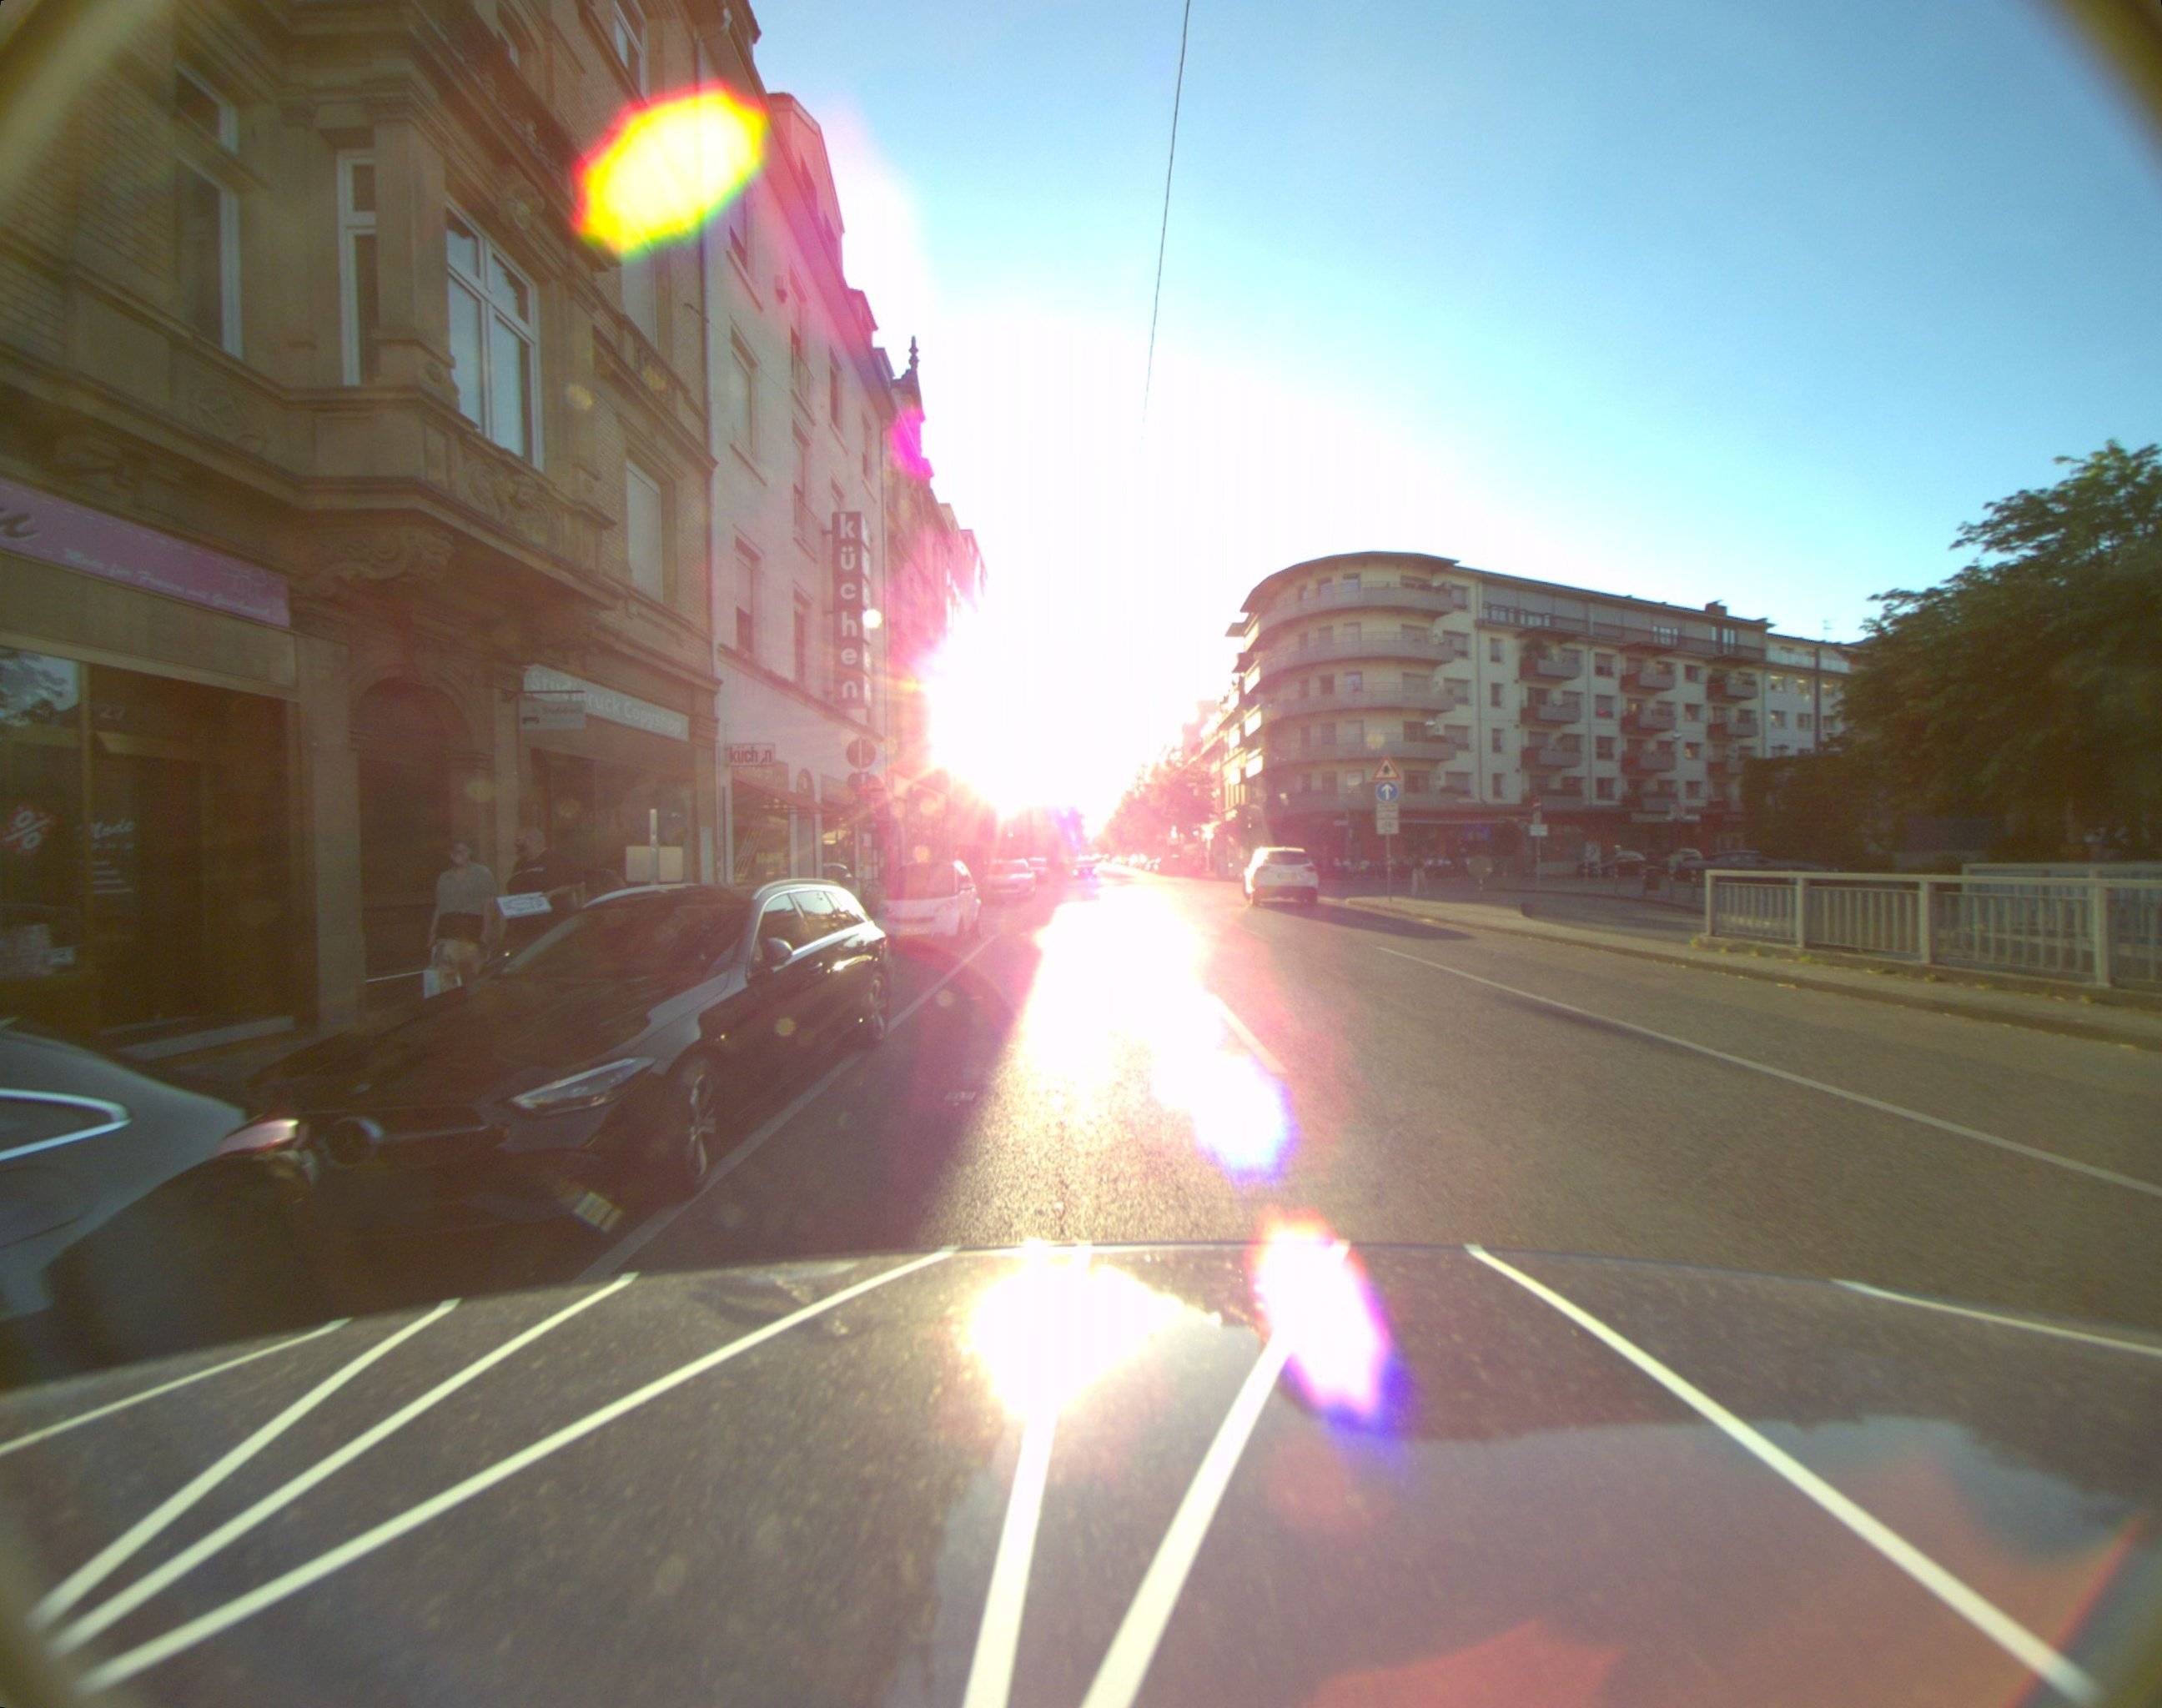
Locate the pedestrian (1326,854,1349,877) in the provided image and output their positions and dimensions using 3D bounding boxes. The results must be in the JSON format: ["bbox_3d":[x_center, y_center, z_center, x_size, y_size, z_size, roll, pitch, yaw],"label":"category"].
[{"bbox_3d":[13.835,0.618,40.963,0.900,1.235,0.767,-1,2,-8],"label":"pedestrian"}]

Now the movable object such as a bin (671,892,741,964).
[{"bbox_3d":[-5.884,1.144,11.942,0.776,1.064,0.618,1,1,0],"label":"movable object such as a bin"}]

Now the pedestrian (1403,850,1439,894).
[{"bbox_3d":[12.428,0.643,27.767,0.901,1.557,0.766,-1,0,-25],"label":"pedestrian"}]

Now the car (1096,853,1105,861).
[{"bbox_3d":[4.205,0.709,166.662,1.866,1.682,4.461,-1,-1,0],"label":"car"}]

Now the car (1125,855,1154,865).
[{"bbox_3d":[8.777,0.887,113.990,4.285,1.475,1.744,-2,0,1],"label":"car"}]

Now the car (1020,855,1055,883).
[{"bbox_3d":[-2.600,0.882,46.191,1.763,1.527,4.000,2,0,2],"label":"car"}]

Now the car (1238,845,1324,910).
[{"bbox_3d":[5.941,0.615,23.065,1.997,1.751,4.467,0,1,8],"label":"car"}]

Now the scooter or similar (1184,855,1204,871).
[{"bbox_3d":[8.757,0.680,58.751,1.402,1.219,0.525,-2,1,-3],"label":"scooter or similar"}]

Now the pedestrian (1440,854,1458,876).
[{"bbox_3d":[20.802,0.595,42.939,0.622,1.218,0.700,-1,2,-13],"label":"pedestrian"}]

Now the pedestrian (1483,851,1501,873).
[{"bbox_3d":[23.843,0.464,44.093,0.622,1.281,0.700,-1,2,-21],"label":"pedestrian"}]

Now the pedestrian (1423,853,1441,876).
[{"bbox_3d":[19.560,0.573,42.375,0.622,1.281,0.701,-1,2,-9],"label":"pedestrian"}]

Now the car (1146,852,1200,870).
[{"bbox_3d":[8.328,0.616,68.841,4.582,1.399,1.821,-2,0,-1],"label":"car"}]

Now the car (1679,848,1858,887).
[{"bbox_3d":[25.309,0.474,28.161,2.003,1.310,4.518,0,0,-30],"label":"car"}]

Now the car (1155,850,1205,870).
[{"bbox_3d":[8.641,0.520,66.420,4.082,1.527,1.884,-2,0,1],"label":"car"}]

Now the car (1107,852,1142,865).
[{"bbox_3d":[5.355,0.556,93.558,4.160,1.413,1.766,-2,0,-2],"label":"car"}]

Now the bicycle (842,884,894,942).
[{"bbox_3d":[-4.312,1.173,15.517,0.505,1.010,1.947,-1,0,0],"label":"bicycle"}]

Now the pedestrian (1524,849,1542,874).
[{"bbox_3d":[26.781,0.440,44.983,0.702,1.461,0.620,-1,2,-26],"label":"pedestrian"}]

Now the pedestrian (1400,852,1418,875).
[{"bbox_3d":[18.625,0.523,43.173,0.657,1.281,0.701,-1,2,-9],"label":"pedestrian"}]

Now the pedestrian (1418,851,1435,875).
[{"bbox_3d":[19.756,0.504,43.428,0.622,1.326,0.701,-1,2,-9],"label":"pedestrian"}]

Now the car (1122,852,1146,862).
[{"bbox_3d":[9.045,0.524,130.278,3.876,1.448,1.744,-2,0,-2],"label":"car"}]

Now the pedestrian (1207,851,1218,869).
[{"bbox_3d":[12.313,0.553,71.145,0.774,1.599,0.875,-3,2,1],"label":"pedestrian"}]

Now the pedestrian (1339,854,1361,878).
[{"bbox_3d":[14.250,0.627,40.261,0.829,1.266,0.748,-1,2,-8],"label":"pedestrian"}]

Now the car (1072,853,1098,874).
[{"bbox_3d":[0.343,0.708,57.913,1.825,1.469,4.155,-2,0,1],"label":"car"}]

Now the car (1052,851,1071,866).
[{"bbox_3d":[-2.384,0.562,93.944,2.043,1.727,4.711,1,0,1],"label":"car"}]

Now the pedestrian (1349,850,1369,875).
[{"bbox_3d":[15.341,0.488,41.904,0.748,1.340,0.828,-1,2,-6],"label":"pedestrian"}]

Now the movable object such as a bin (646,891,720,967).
[{"bbox_3d":[-5.916,1.099,11.327,0.776,1.064,0.618,1,1,0],"label":"movable object such as a bin"}]

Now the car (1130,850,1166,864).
[{"bbox_3d":[8.718,0.370,98.784,4.417,1.586,1.890,-2,0,0],"label":"car"}]

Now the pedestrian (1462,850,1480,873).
[{"bbox_3d":[23.104,0.443,45.053,0.622,1.281,0.700,-1,2,-21],"label":"pedestrian"}]

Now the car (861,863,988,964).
[{"bbox_3d":[-2.796,1.008,14.222,1.535,1.528,3.283,-2,1,2],"label":"car"}]

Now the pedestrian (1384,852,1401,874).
[{"bbox_3d":[17.595,0.514,42.913,0.622,1.240,0.701,-1,2,-9],"label":"pedestrian"}]

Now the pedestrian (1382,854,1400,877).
[{"bbox_3d":[17.052,0.615,41.829,0.622,1.240,0.701,-1,2,-9],"label":"pedestrian"}]

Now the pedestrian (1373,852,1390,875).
[{"bbox_3d":[16.898,0.511,42.697,0.622,1.240,0.701,-1,2,-9],"label":"pedestrian"}]

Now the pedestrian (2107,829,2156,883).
[{"bbox_3d":[31.421,0.055,22.729,0.622,1.577,0.700,-1,2,-23],"label":"pedestrian"}]

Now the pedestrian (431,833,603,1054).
[{"bbox_3d":[-4.960,0.742,6.760,0.774,1.816,1.010,0,0,0],"label":"pedestrian"}]

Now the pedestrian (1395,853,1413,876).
[{"bbox_3d":[17.840,0.597,41.978,0.622,1.240,0.701,-1,2,-9],"label":"pedestrian"}]

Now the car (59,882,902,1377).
[{"bbox_3d":[-2.637,1.060,4.930,1.734,1.440,4.524,-3,1,1],"label":"car"}]

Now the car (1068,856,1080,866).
[{"bbox_3d":[-1.082,1.031,116.623,1.695,1.534,3.553,1,0,0],"label":"car"}]

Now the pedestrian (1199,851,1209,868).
[{"bbox_3d":[11.533,0.476,71.101,0.736,1.519,0.875,-3,2,1],"label":"pedestrian"}]

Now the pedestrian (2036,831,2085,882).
[{"bbox_3d":[30.897,0.071,23.978,0.691,1.577,0.768,-1,2,-23],"label":"pedestrian"}]

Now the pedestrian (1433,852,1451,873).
[{"bbox_3d":[21.103,0.484,44.384,0.622,1.218,0.700,-1,2,-13],"label":"pedestrian"}]

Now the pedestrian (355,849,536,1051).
[{"bbox_3d":[-5.753,0.814,6.952,0.774,1.701,1.042,0,0,0],"label":"pedestrian"}]

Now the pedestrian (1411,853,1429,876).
[{"bbox_3d":[18.757,0.573,42.047,0.622,1.281,0.701,-1,2,-9],"label":"pedestrian"}]

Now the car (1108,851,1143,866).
[{"bbox_3d":[5.636,0.524,96.394,4.160,1.762,1.889,-2,0,-2],"label":"car"}]

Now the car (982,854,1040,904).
[{"bbox_3d":[-2.500,0.855,28.132,1.763,1.528,4.820,-3,1,-1],"label":"car"}]

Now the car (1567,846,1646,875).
[{"bbox_3d":[31.139,0.386,45.025,4.004,1.587,1.966,-1,0,-23],"label":"car"}]

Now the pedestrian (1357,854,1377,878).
[{"bbox_3d":[15.363,0.635,40.832,0.724,1.240,0.828,-1,2,-6],"label":"pedestrian"}]

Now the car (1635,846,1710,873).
[{"bbox_3d":[36.899,0.313,47.416,4.004,1.587,1.966,-1,0,-23],"label":"car"}]
